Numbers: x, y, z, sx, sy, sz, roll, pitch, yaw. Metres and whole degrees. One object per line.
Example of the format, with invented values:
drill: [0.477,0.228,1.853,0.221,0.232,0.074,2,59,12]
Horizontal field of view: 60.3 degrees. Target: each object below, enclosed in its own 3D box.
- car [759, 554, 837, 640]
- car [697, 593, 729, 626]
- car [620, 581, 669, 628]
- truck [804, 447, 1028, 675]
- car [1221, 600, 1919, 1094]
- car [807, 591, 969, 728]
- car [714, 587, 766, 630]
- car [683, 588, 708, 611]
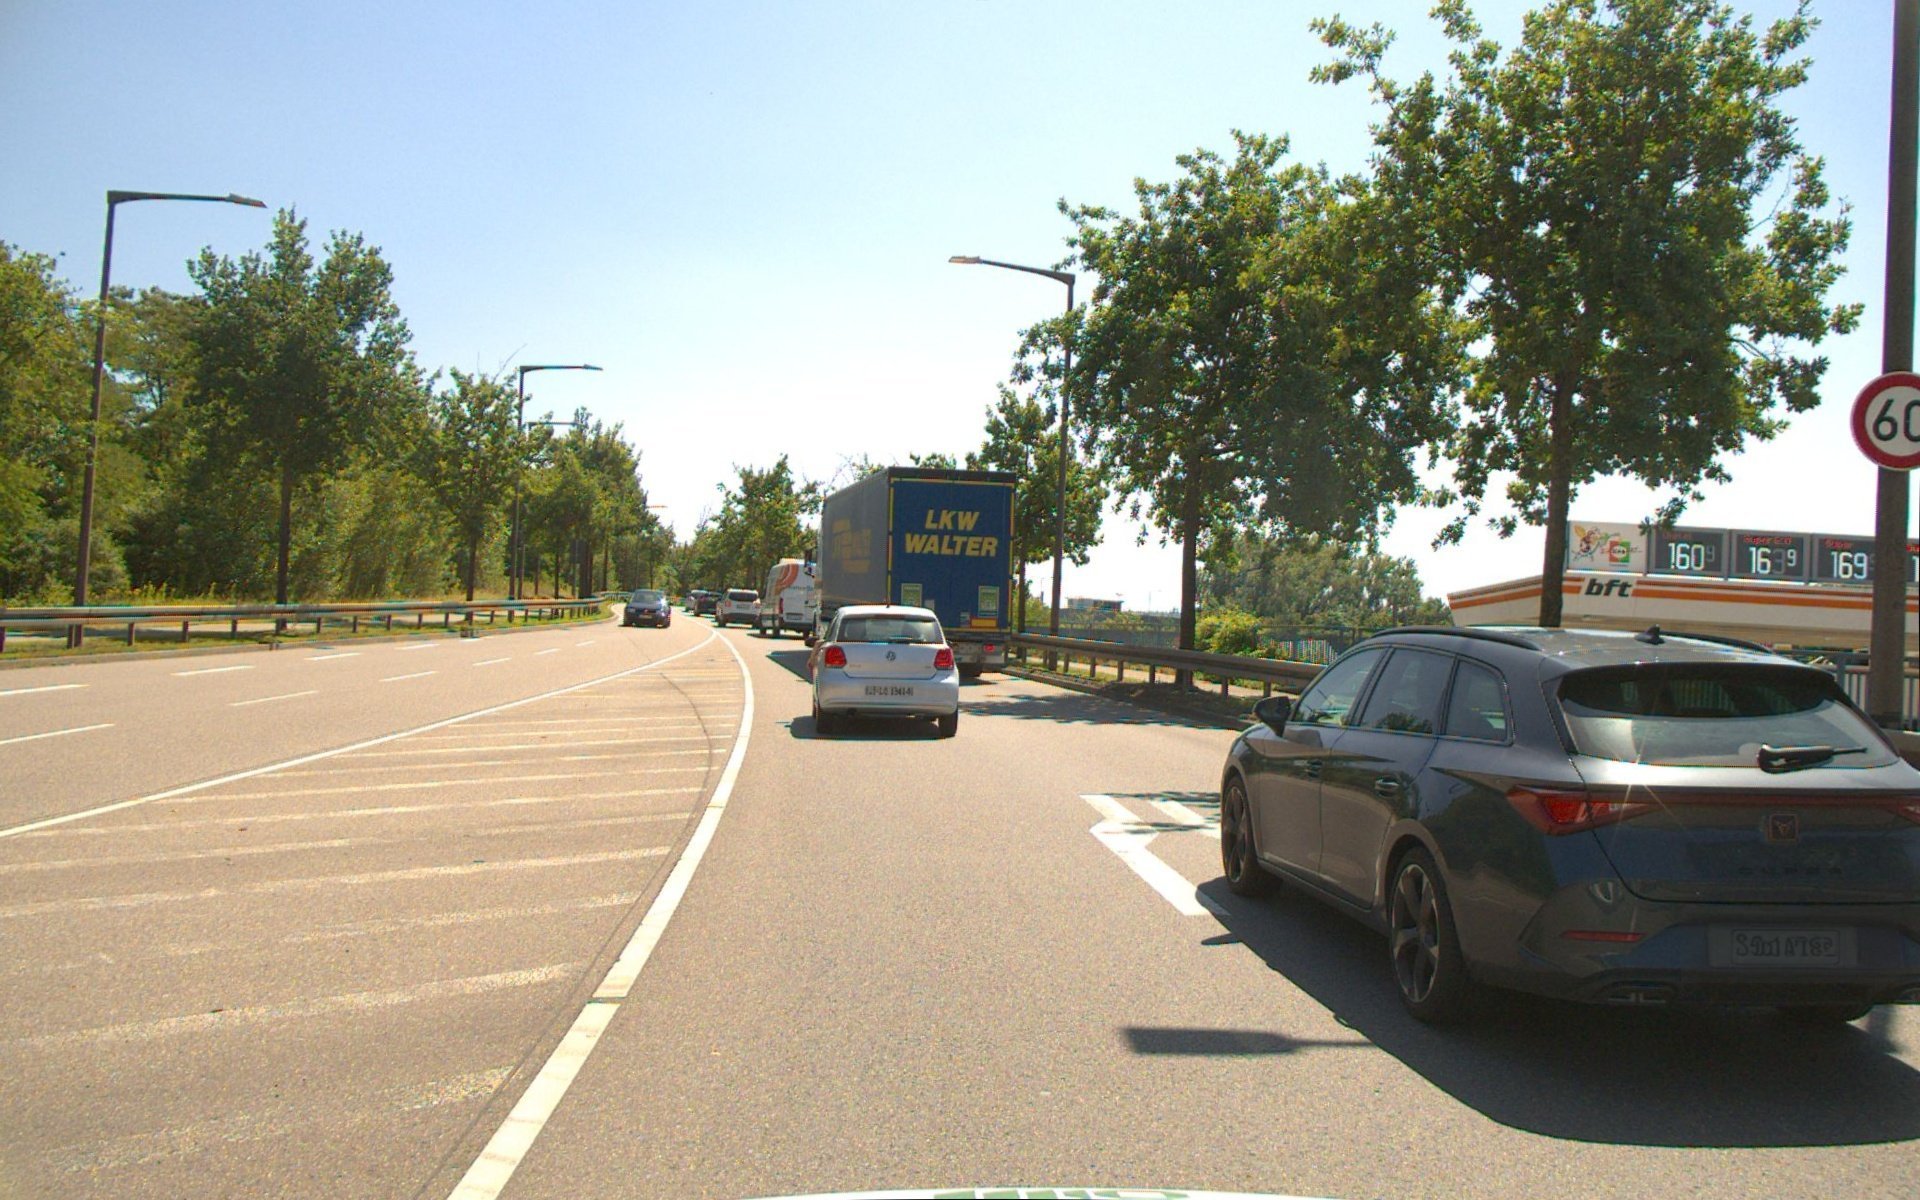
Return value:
car: [-6.081,-0.125,61.281,2.137,2.951,6.339,2,0,-12]
car: [-14.378,0.554,96.225,1.690,1.756,3.990,2,-2,-10]
car: [-12.327,0.134,64.767,1.647,1.700,3.749,1,1,-7]
truck: [-1.579,-0.609,39.852,2.782,4.272,16.430,2,-1,-10]
car: [2.424,0.831,7.181,1.573,1.481,4.230,2,-2,-5]
car: [-0.952,0.713,20.004,1.615,1.464,3.530,2,-2,-8]
car: [-9.767,0.395,73.256,1.870,1.748,4.209,2,-2,-12]
car: [-17.629,-0.013,110.116,1.578,1.384,3.654,2,-1,-9]
